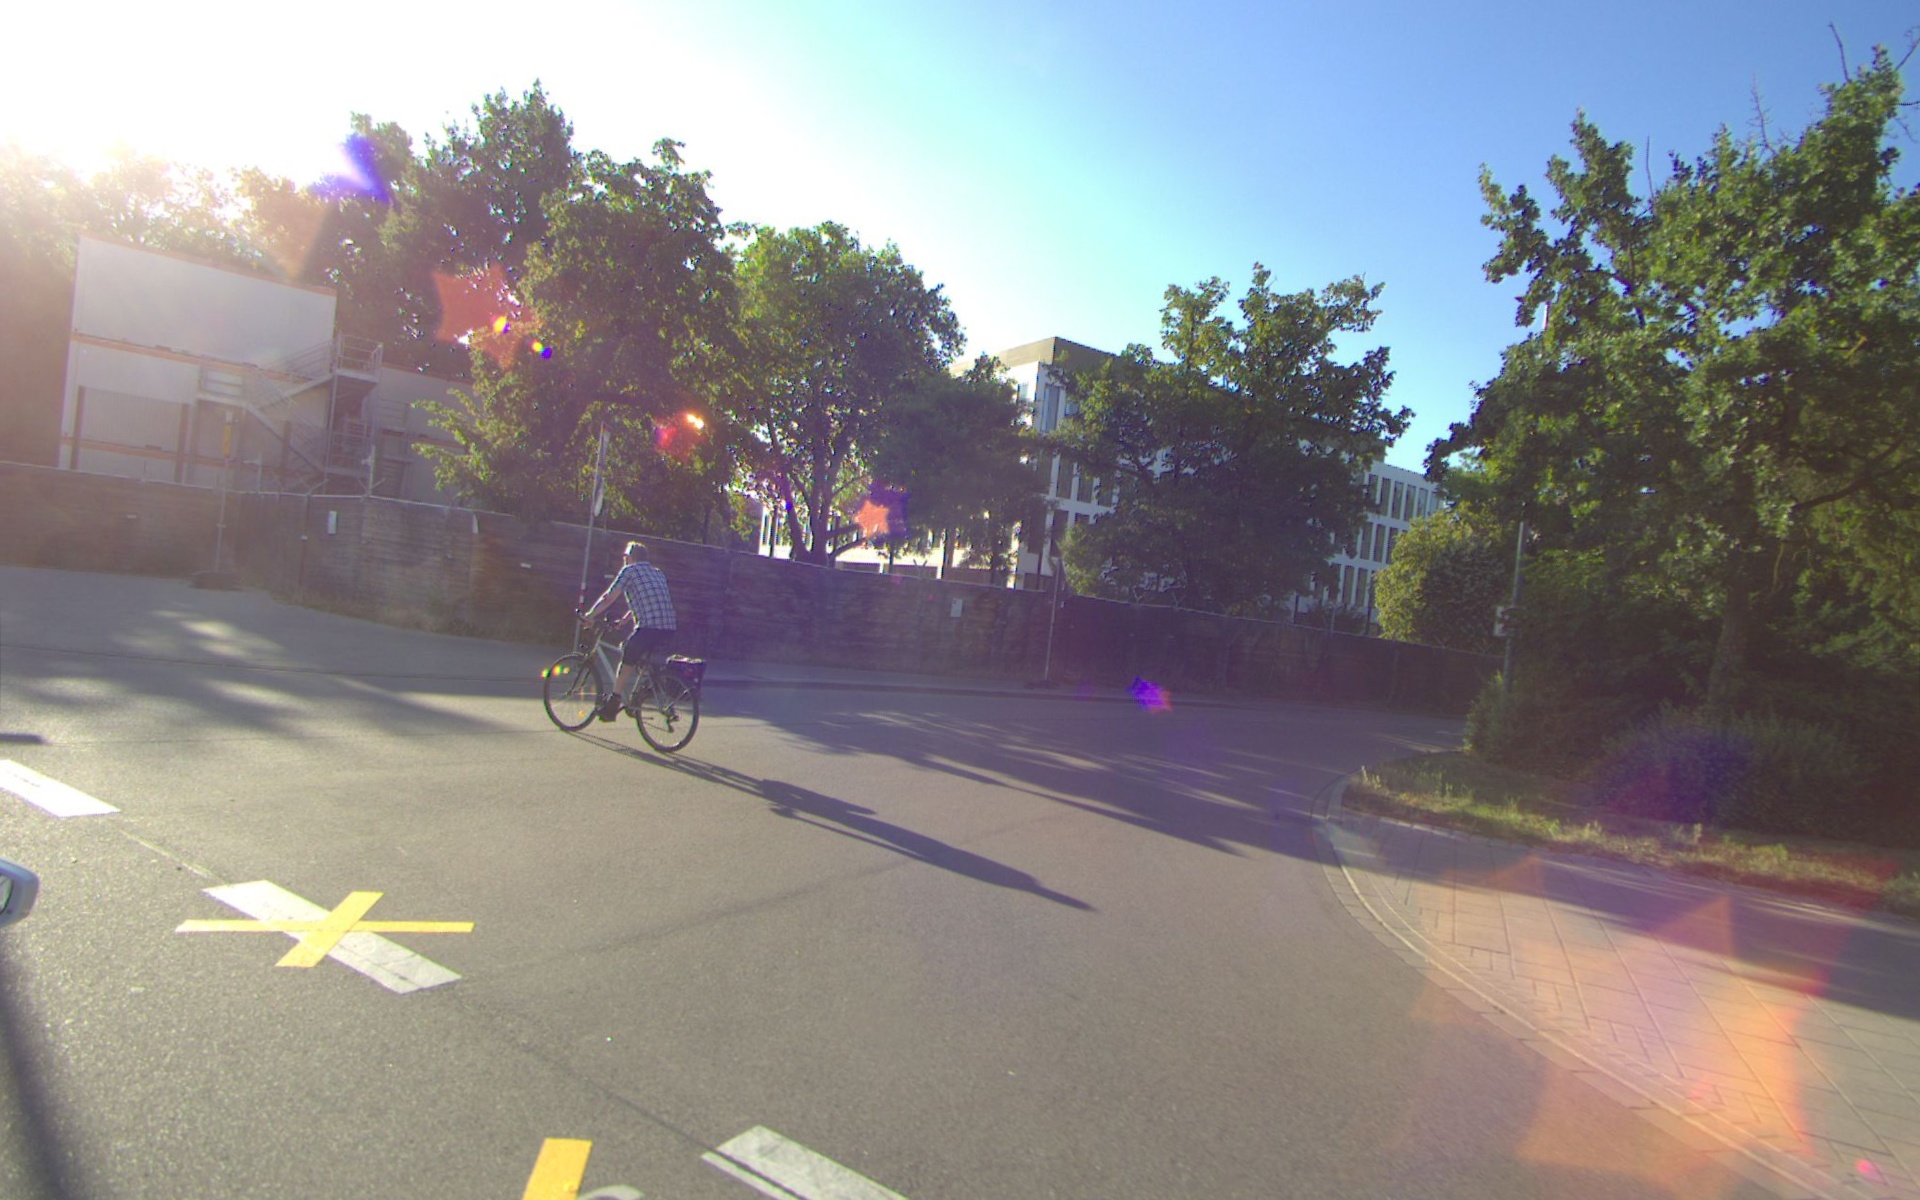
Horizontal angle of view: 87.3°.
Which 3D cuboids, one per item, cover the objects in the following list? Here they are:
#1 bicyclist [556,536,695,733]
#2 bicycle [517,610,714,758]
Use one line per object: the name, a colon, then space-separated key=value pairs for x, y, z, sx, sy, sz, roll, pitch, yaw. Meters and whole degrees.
bicyclist: x=-3.014 y=0.300 z=9.073 sx=0.887 sy=1.635 sz=0.585 roll=6 pitch=1 yaw=27
bicycle: x=-3.148 y=0.727 z=9.116 sx=1.878 sy=1.074 sz=0.428 roll=6 pitch=1 yaw=28
